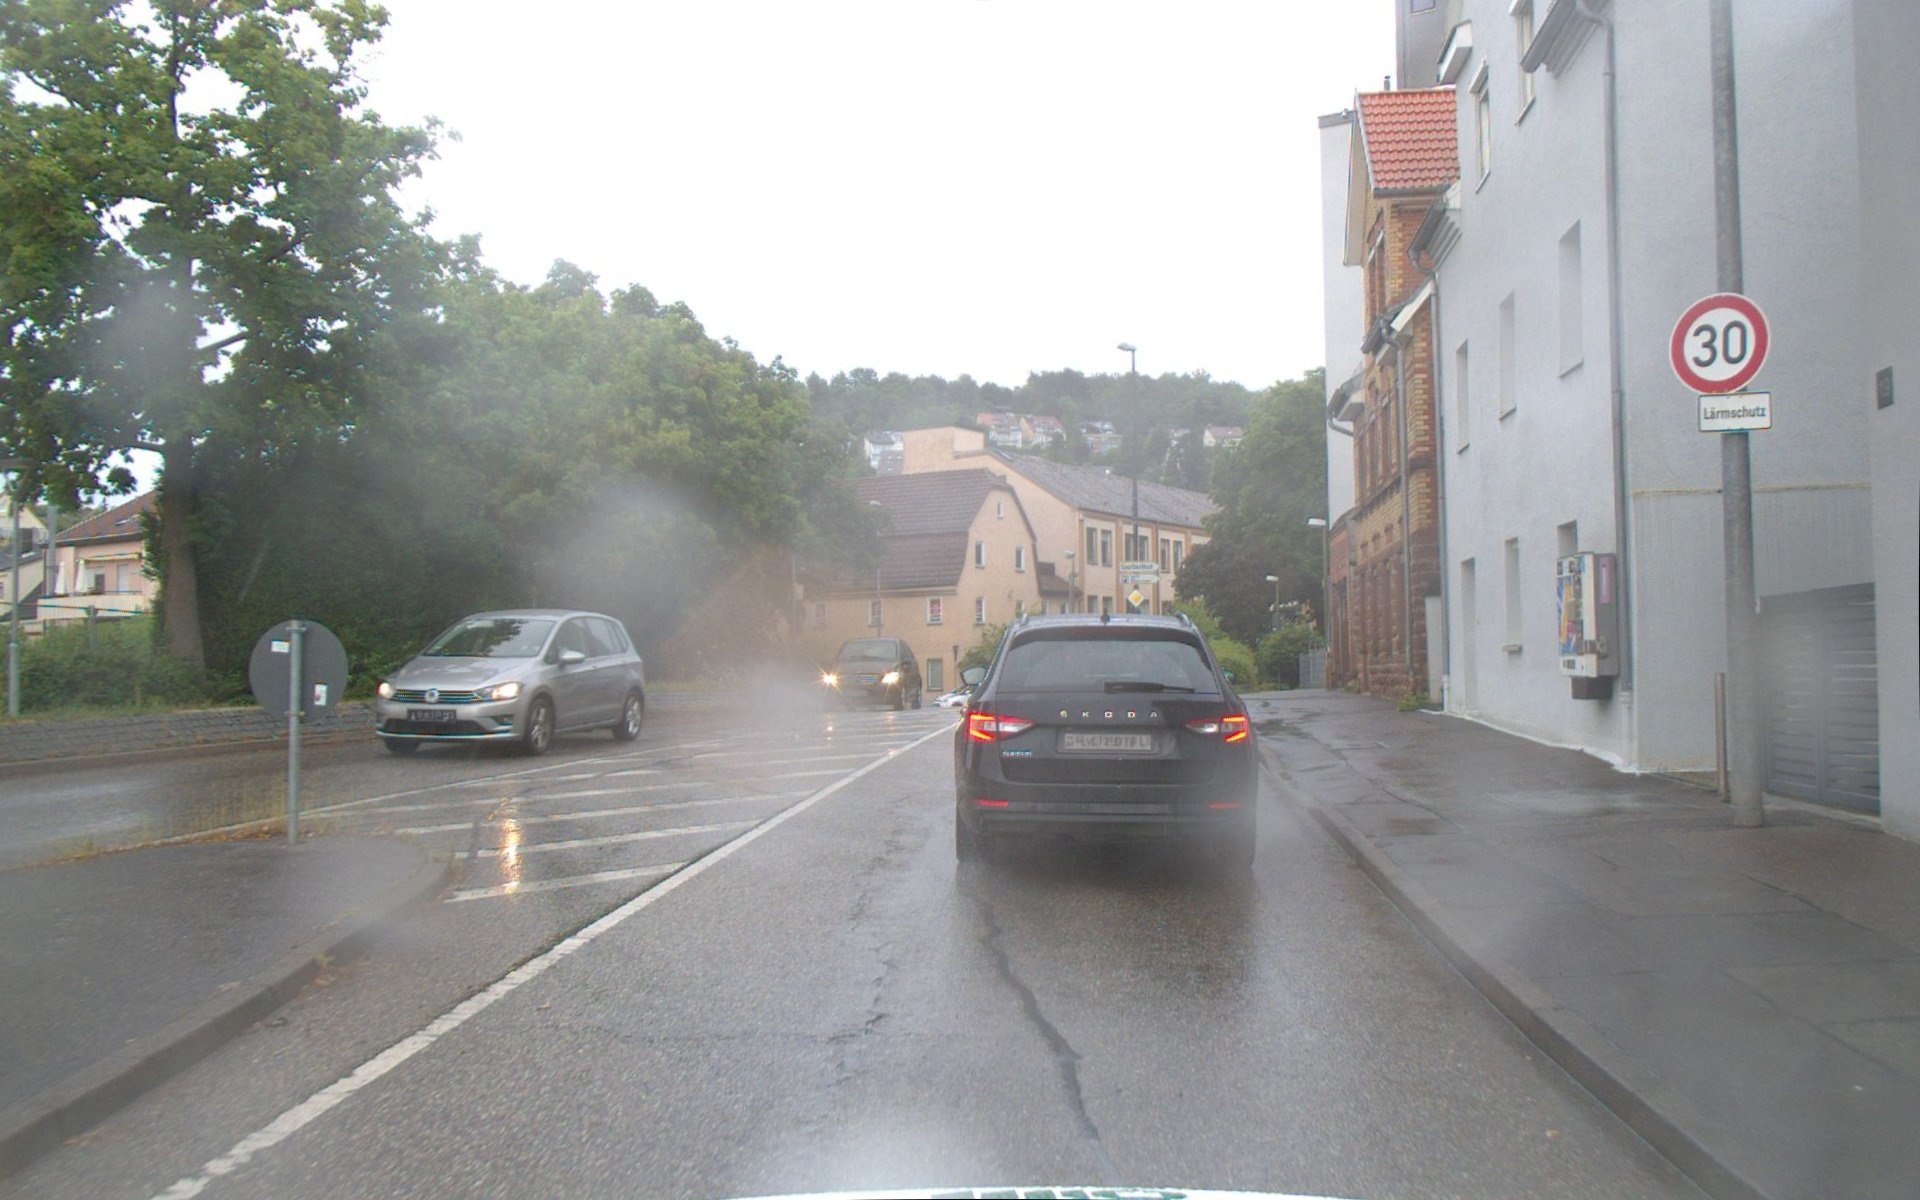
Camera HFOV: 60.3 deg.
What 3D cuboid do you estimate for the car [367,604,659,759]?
[{"bbox_3d":[-4.981,0.875,19.048,1.608,1.579,4.158,-1,-1,10],"label":"car"}]

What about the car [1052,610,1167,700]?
[{"bbox_3d":[2.531,0.965,28.100,1.779,1.384,3.991,-2,-3,5],"label":"car"}]

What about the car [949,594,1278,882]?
[{"bbox_3d":[0.953,0.730,11.006,1.744,1.509,4.248,1,0,3],"label":"car"}]

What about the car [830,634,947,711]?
[{"bbox_3d":[-1.507,1.550,36.198,1.605,1.547,4.074,-1,-1,12],"label":"car"}]

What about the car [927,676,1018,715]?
[{"bbox_3d":[0.547,4.309,74.730,3.697,1.478,1.701,-2,-3,-21],"label":"car"}]
